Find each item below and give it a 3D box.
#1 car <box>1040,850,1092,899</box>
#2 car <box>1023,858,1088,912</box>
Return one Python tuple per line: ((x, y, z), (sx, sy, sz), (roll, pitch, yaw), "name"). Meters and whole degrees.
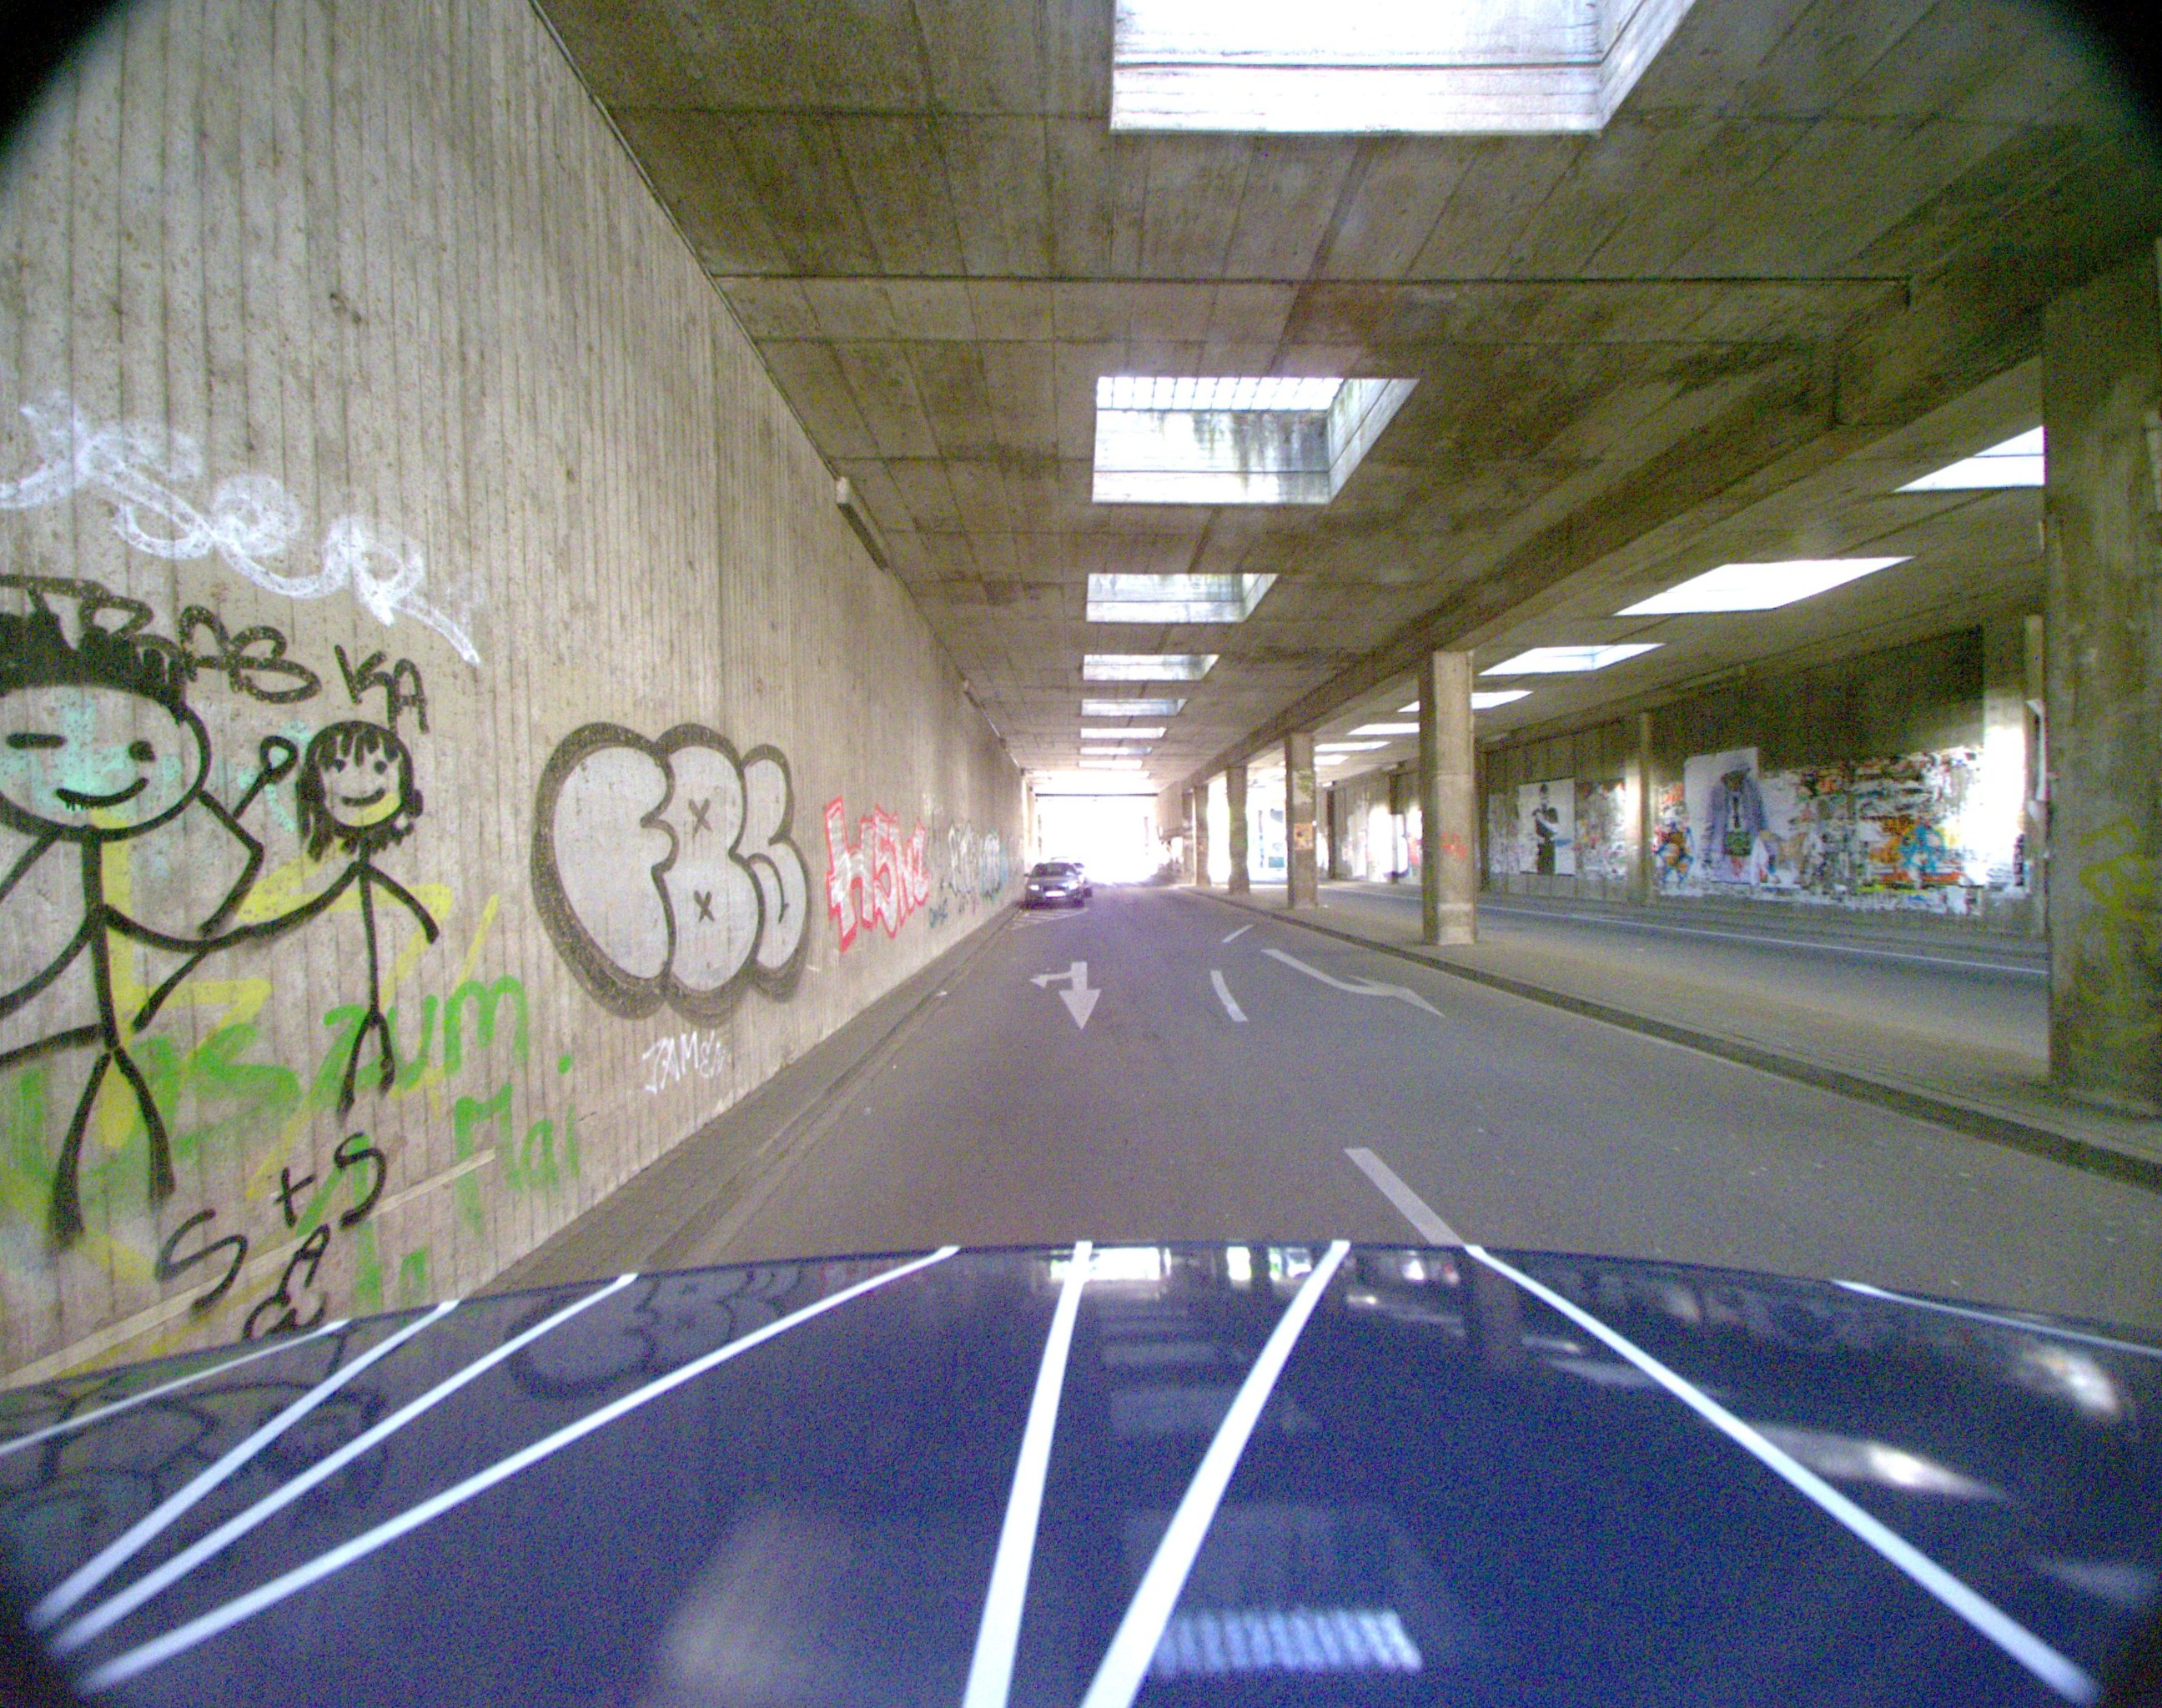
((-0.526, 0.749, 29.879), (1.861, 1.709, 4.000), (-2, 0, 1), "car")
((-0.731, 0.905, 24.068), (1.808, 1.460, 4.000), (-2, 0, 1), "car")
